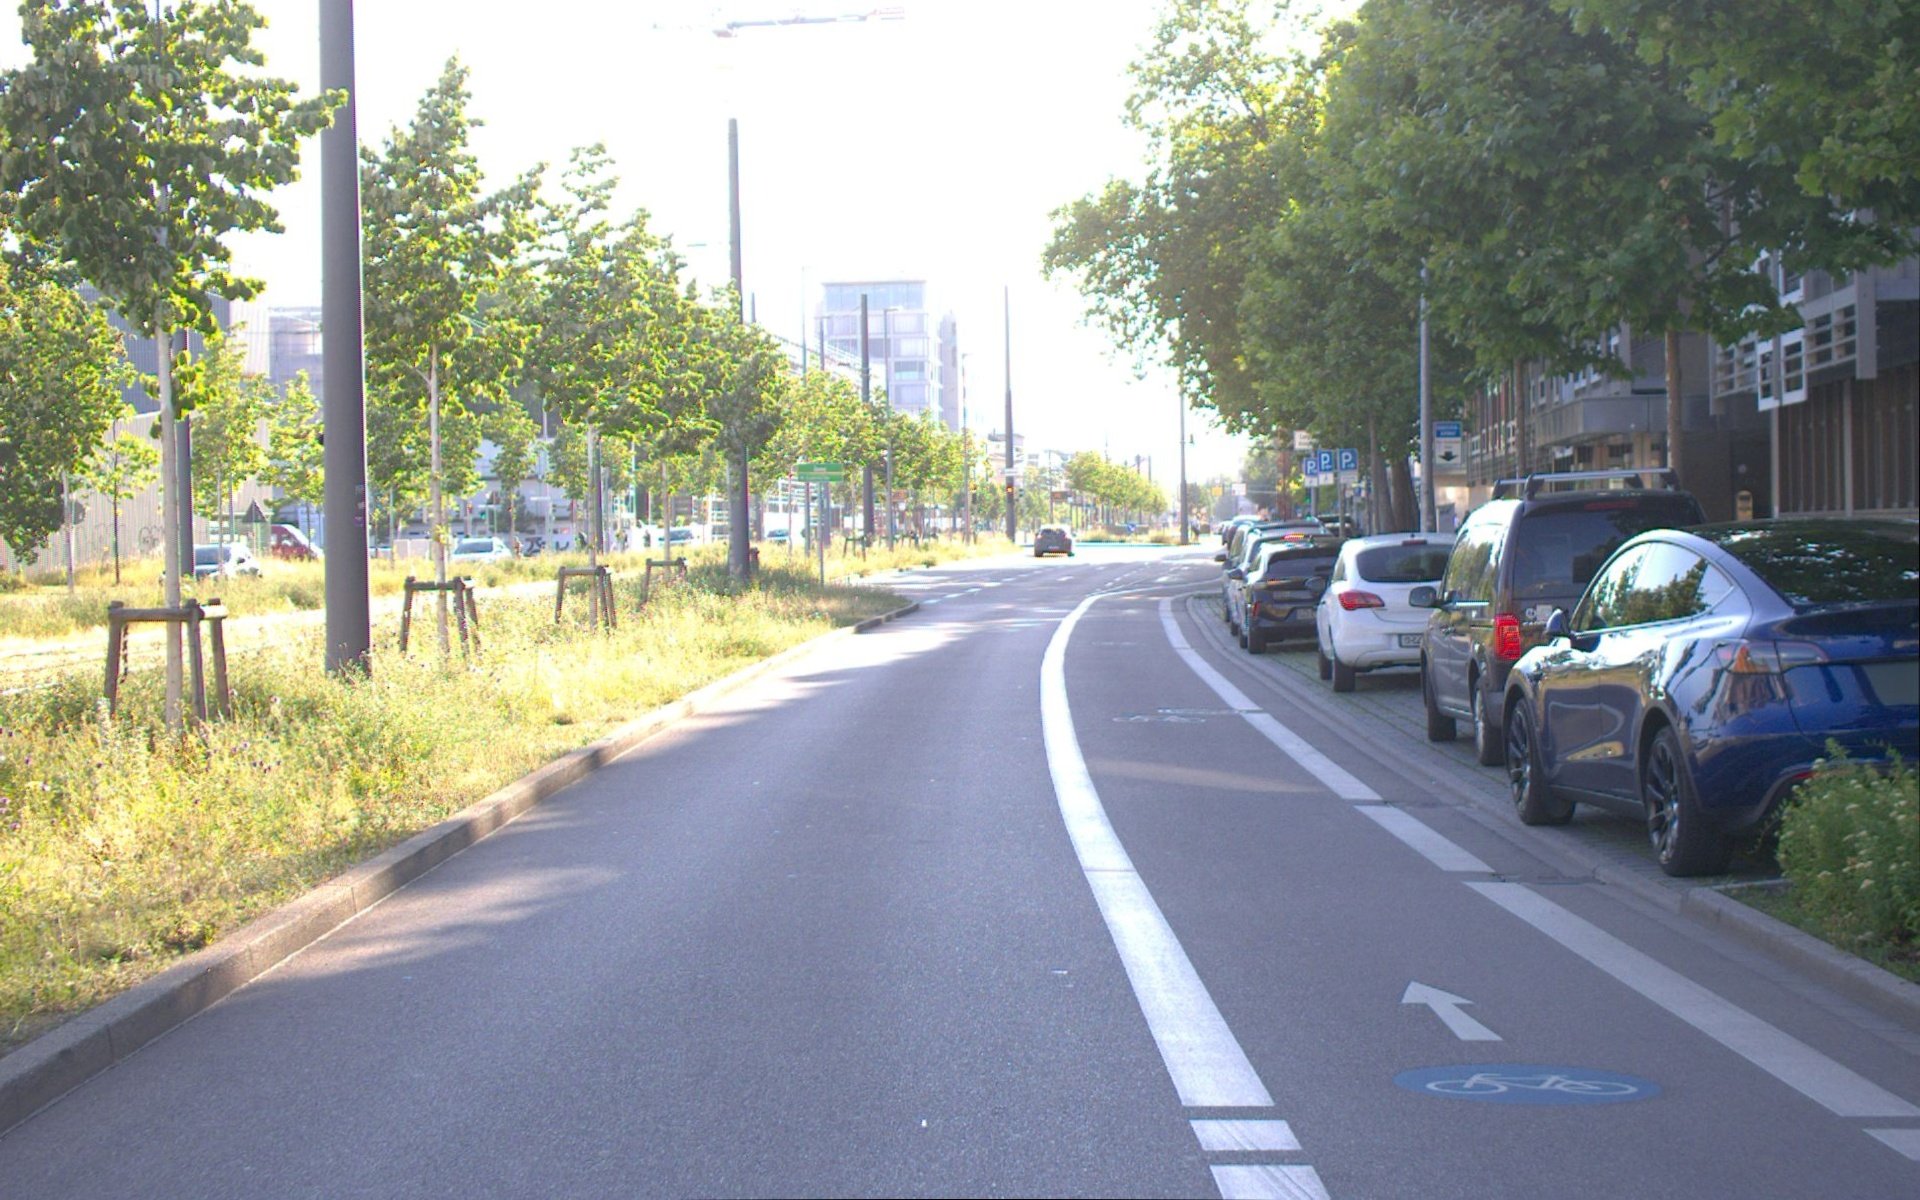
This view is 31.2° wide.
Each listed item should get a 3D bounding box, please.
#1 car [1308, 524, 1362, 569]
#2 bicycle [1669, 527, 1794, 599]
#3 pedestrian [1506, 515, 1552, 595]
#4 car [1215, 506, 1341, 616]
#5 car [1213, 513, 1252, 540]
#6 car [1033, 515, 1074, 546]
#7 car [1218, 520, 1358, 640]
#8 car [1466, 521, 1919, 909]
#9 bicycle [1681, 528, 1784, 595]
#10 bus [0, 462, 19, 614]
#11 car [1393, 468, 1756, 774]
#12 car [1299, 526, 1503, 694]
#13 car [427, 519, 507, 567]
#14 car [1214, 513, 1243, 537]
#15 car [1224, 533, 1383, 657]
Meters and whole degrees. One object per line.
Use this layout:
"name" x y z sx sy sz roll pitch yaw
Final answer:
"car" 12.834 -1.837 117.837 1.707 1.413 4.276 -3 1 6
"bicycle" 12.464 -0.601 55.546 1.899 1.089 0.392 -2 1 -2
"pedestrian" 11.944 -0.953 72.210 0.789 1.643 1.137 -2 1 3
"car" 5.231 -0.678 56.986 1.728 1.682 4.514 -3 1 2
"car" 14.489 -3.923 182.913 1.940 1.423 3.925 -1 1 3
"car" 4.332 -3.241 159.092 1.777 1.423 4.000 0 1 3
"car" 4.835 -0.335 51.063 1.728 1.616 4.216 -3 1 2
"car" 4.028 0.446 17.281 1.931 1.593 4.700 -3 1 -4
"bicycle" 12.986 -0.648 57.797 1.627 1.078 0.392 -2 1 5
"bus" -24.410 -1.343 76.482 2.799 3.582 12.697 -1 1 3
"car" 4.270 0.085 24.552 1.734 1.912 4.394 -3 1 0
"car" 4.352 0.048 34.405 1.664 1.485 4.203 -3 1 3
"car" -17.390 -2.012 121.444 1.994 1.637 4.167 -1 1 3
"car" 17.413 -4.861 222.714 1.759 1.479 3.850 -1 1 3
"car" 4.493 -0.105 45.441 1.794 1.444 4.376 -3 1 3
